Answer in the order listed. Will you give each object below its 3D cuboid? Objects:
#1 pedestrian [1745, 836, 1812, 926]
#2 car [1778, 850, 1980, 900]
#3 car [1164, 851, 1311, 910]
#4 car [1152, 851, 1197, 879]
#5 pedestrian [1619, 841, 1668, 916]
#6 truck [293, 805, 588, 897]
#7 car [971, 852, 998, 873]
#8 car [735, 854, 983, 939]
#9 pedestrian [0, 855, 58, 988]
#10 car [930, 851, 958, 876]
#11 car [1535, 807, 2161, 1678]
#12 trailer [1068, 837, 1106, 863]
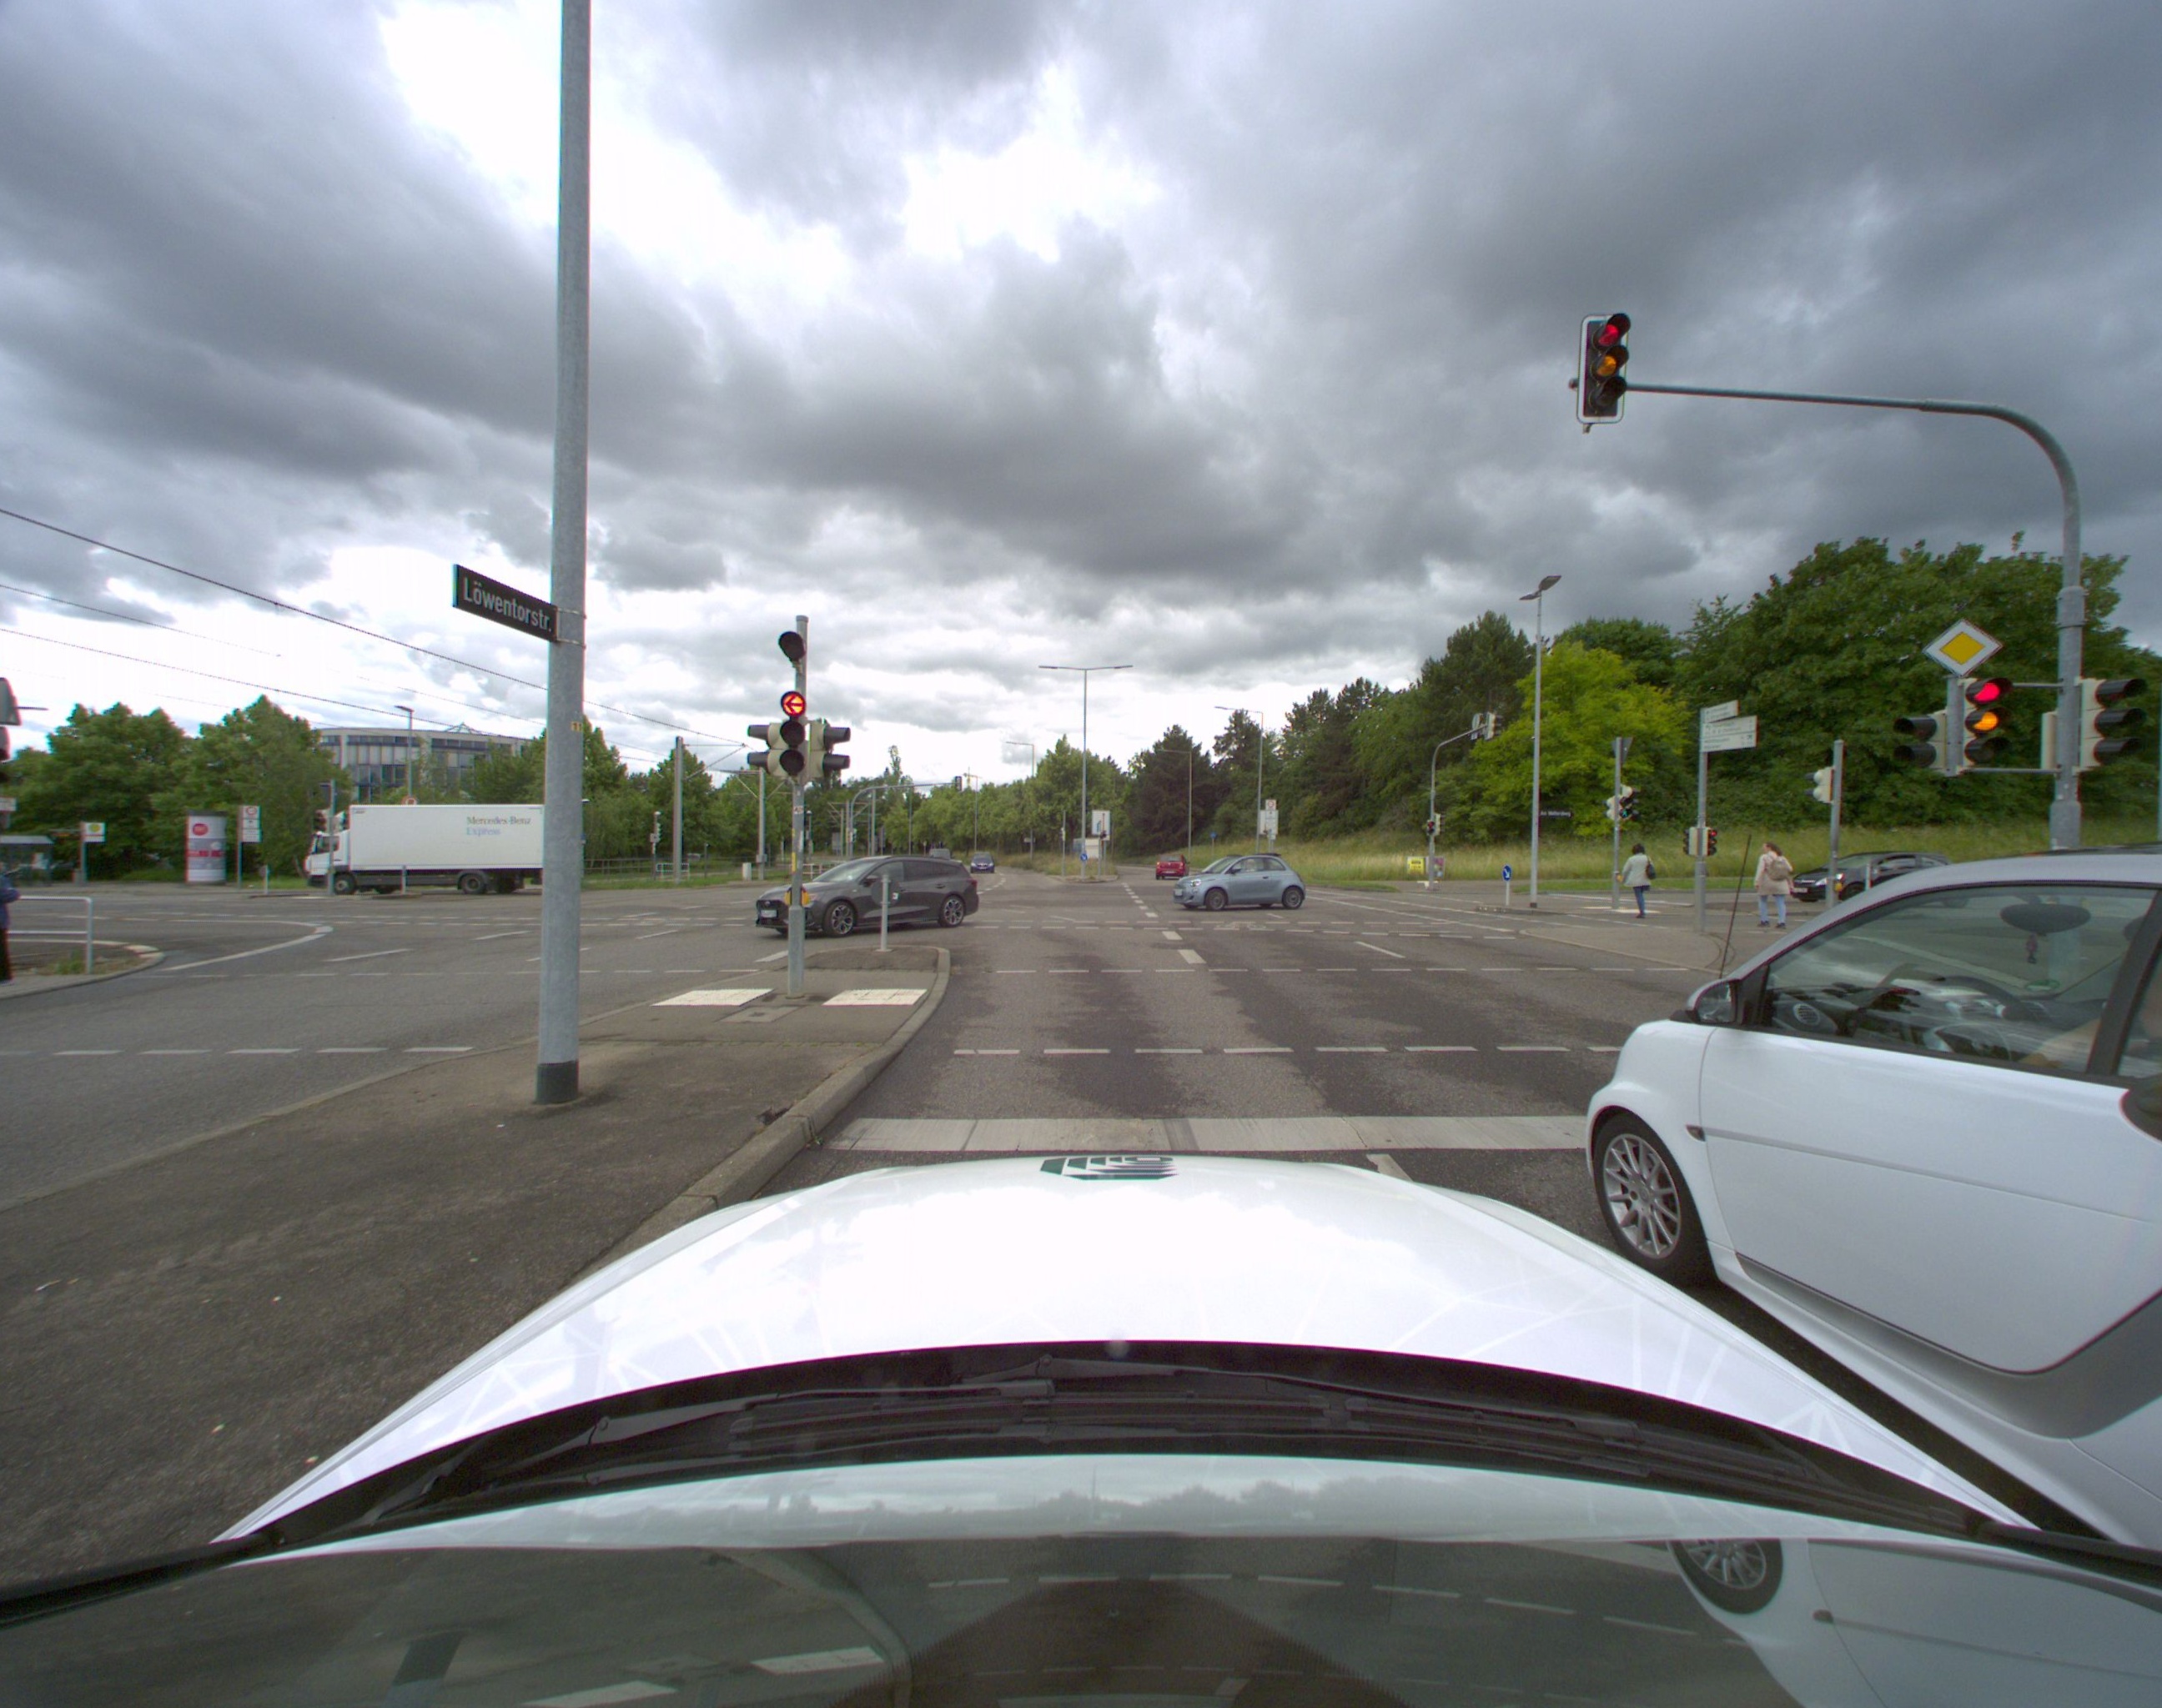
[{"bbox_3d":[12.798,0.495,14.961,0.640,1.612,0.715,-1,-1,7],"label":"pedestrian"},{"bbox_3d":[22.217,0.571,22.799,3.859,1.338,1.698,0,-1,4],"label":"car"},{"bbox_3d":[4.301,0.700,22.549,3.596,1.528,1.753,0,-1,-16],"label":"car"},{"bbox_3d":[5.664,0.666,48.970,1.769,1.603,3.907,-1,-1,21],"label":"car"},{"bbox_3d":[12.690,0.539,18.398,0.640,1.662,0.715,-1,-1,8],"label":"pedestrian"},{"bbox_3d":[-25.860,-0.138,33.312,9.239,3.532,3.011,0,0,-6],"label":"truck"},{"bbox_3d":[-7.250,0.638,61.362,1.732,1.508,3.656,0,-1,-3],"label":"car"},{"bbox_3d":[-4.200,0.728,16.013,1.852,1.424,4.460,-1,-1,40],"label":"car"},{"bbox_3d":[-12.798,0.780,9.562,0.632,1.536,0.719,0,-1,-2],"label":"pedestrian"},{"bbox_3d":[-10.584,0.698,63.137,1.886,1.812,5.079,-1,0,-7],"label":"car"},{"bbox_3d":[2.705,0.677,2.125,1.585,1.516,2.768,0,-1,3],"label":"car"},{"bbox_3d":[0.651,-0.474,98.149,2.755,3.012,6.048,0,-1,-19],"label":"trailer"}]
